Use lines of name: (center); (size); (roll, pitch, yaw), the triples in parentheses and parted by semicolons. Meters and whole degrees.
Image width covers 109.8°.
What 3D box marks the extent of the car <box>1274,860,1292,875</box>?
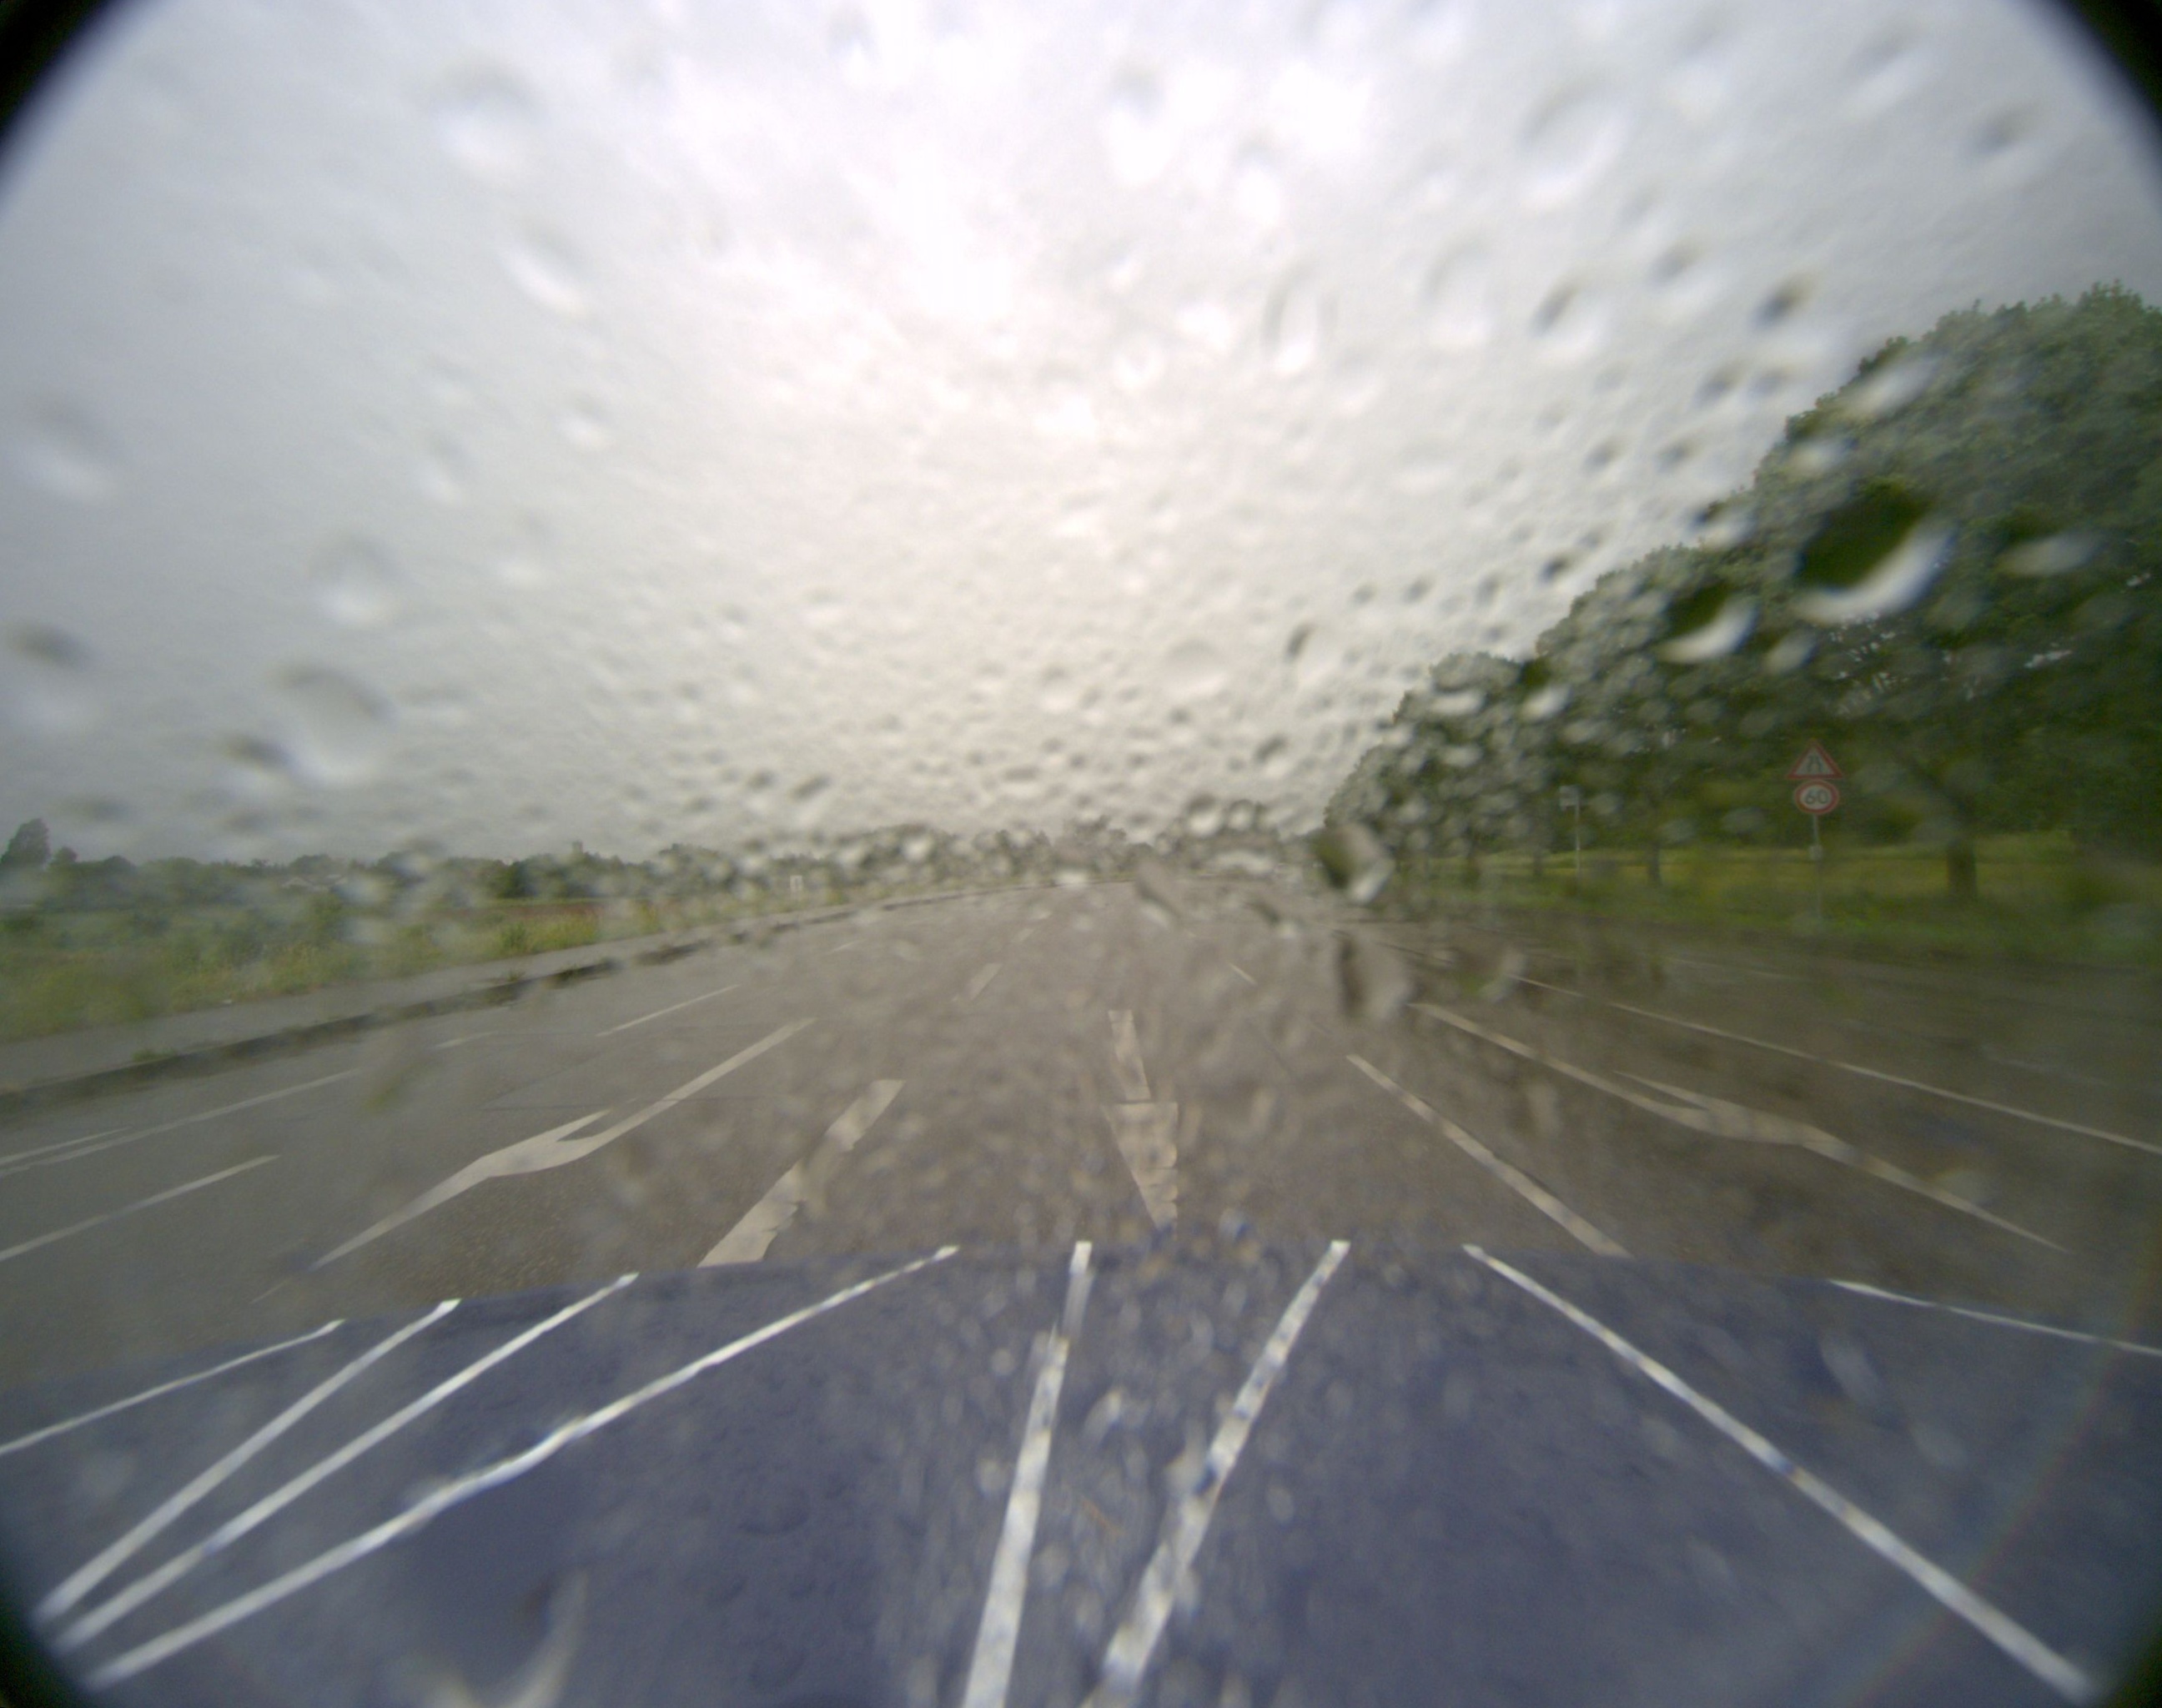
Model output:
car: (21.659, 1.408, 81.531); (1.881, 1.564, 4.650); (0, 0, 15)

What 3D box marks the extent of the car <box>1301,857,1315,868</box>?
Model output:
car: (36.895, 1.377, 123.433); (1.886, 1.578, 4.124); (-3, 0, 19)

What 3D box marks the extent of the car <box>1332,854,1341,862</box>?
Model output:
car: (62.418, 0.980, 185.578); (1.926, 1.733, 4.294); (0, 0, 18)

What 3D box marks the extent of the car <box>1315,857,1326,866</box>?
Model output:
car: (43.258, 1.337, 137.354); (1.741, 1.478, 4.016); (0, 0, 19)
